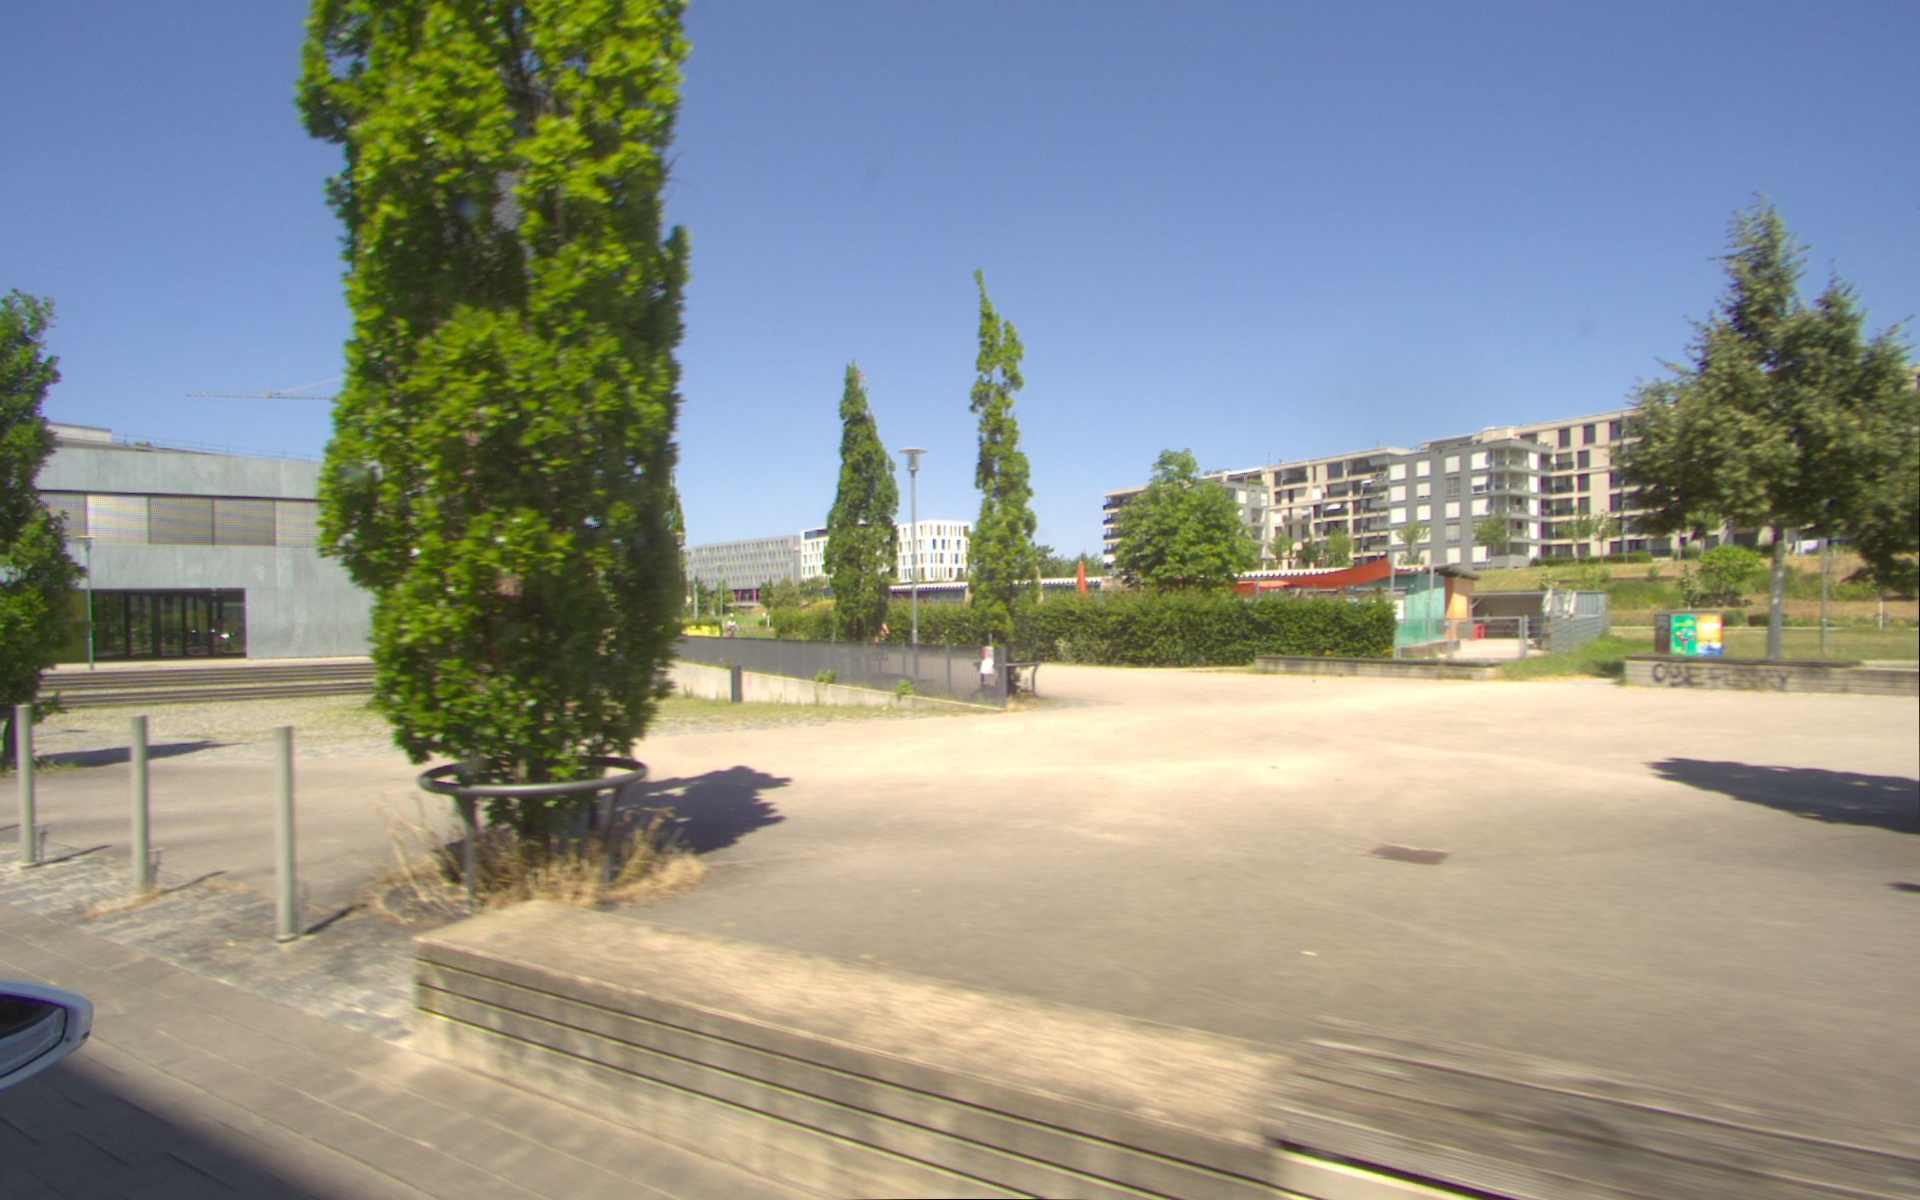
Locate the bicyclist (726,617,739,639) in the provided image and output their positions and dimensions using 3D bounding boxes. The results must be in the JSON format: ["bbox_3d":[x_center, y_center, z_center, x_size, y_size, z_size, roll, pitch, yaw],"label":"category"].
[{"bbox_3d":[-15.134,1.840,66.545,0.721,1.453,0.659,-1,0,-21],"label":"bicyclist"}]

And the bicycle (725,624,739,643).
[{"bbox_3d":[-15.124,2.225,66.426,0.581,1.214,1.937,-1,-1,-21],"label":"bicycle"}]

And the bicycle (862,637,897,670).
[{"bbox_3d":[-2.937,1.926,36.411,0.785,1.132,1.910,-1,-1,-20],"label":"bicycle"}]

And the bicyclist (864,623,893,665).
[{"bbox_3d":[-2.969,1.586,36.482,0.845,1.474,0.881,-1,0,-21],"label":"bicyclist"}]
